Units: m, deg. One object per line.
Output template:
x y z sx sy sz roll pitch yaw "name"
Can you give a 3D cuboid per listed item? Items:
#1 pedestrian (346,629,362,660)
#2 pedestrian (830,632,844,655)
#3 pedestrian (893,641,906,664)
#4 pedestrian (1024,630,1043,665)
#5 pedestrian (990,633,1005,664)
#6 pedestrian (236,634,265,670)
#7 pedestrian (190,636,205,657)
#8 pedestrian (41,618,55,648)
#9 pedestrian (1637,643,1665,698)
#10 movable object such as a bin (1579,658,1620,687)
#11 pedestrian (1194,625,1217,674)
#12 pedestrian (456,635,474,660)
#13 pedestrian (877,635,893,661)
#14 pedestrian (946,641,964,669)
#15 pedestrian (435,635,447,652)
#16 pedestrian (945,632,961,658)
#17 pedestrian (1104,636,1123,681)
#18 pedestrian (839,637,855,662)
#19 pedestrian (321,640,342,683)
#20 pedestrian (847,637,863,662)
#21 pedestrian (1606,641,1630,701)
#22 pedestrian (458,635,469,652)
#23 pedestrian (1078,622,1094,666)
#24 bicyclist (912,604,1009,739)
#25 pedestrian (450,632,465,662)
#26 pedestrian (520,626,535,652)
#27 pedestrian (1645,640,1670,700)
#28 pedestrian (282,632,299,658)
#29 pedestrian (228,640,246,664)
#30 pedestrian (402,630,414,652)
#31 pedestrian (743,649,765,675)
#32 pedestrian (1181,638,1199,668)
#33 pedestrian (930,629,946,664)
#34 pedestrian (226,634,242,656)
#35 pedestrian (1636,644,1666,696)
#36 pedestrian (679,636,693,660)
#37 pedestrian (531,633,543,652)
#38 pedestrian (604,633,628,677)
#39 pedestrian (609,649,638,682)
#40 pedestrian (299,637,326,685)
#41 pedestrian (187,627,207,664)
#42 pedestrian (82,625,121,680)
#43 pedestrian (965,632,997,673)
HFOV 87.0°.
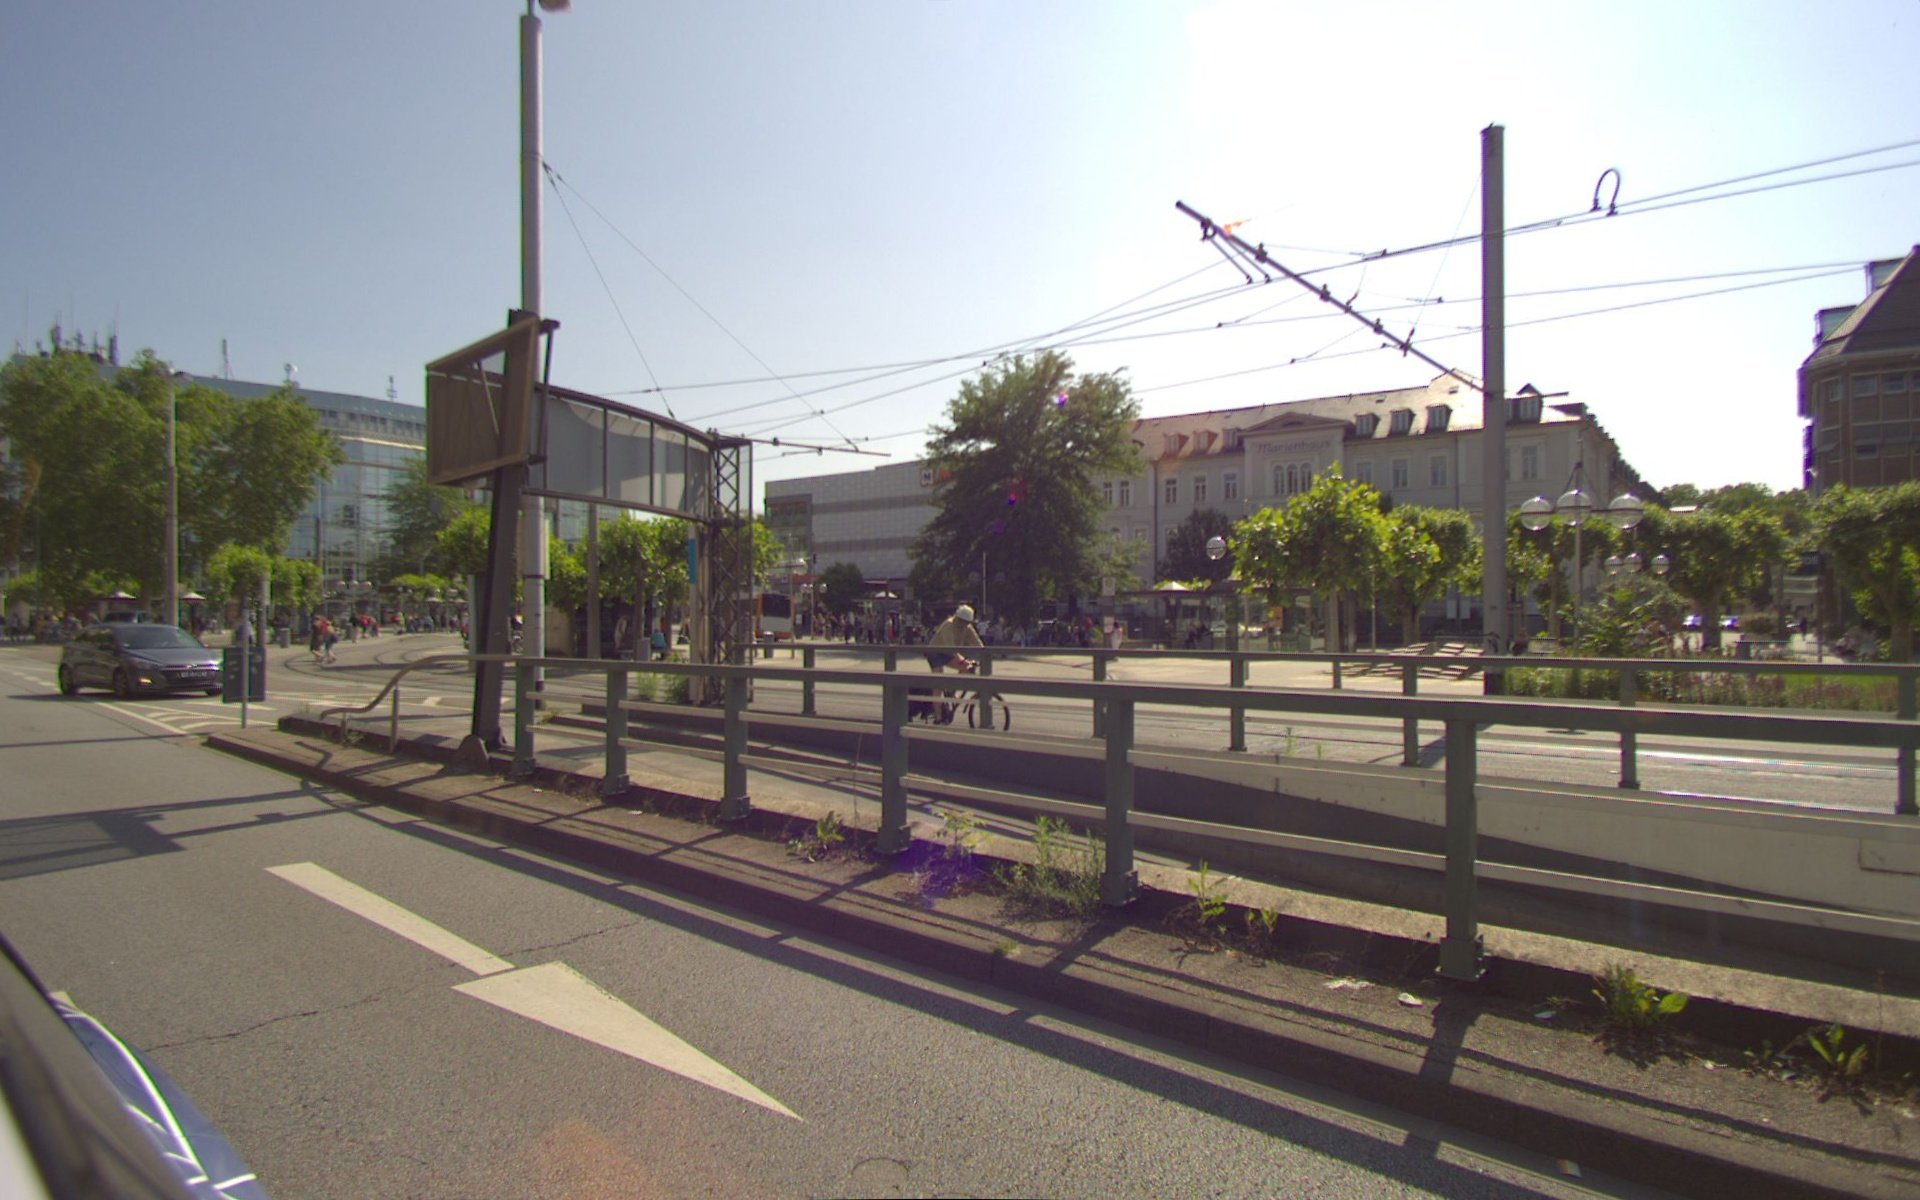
-36.756 2.703 61.383 0.605 1.830 0.570 -3 -6 40 "pedestrian"
-8.059 2.848 66.284 0.680 1.477 0.616 -3 -6 44 "pedestrian"
-3.411 2.959 57.131 0.511 1.273 0.453 5 -6 -44 "pedestrian"
3.747 2.413 51.628 0.618 1.742 0.733 -2 -5 40 "pedestrian"
1.596 2.055 42.989 0.479 1.273 0.400 -1 -5 22 "pedestrian"
-33.398 2.424 47.639 0.678 1.671 0.885 -2 -3 32 "pedestrian"
-65.690 3.995 87.223 0.780 1.760 0.744 -2 -3 31 "pedestrian"
-54.539 1.989 60.520 0.516 1.756 0.511 -1 -1 28 "pedestrian"
20.804 2.112 30.469 0.618 1.622 0.488 -2 -5 31 "pedestrian"
17.306 1.969 27.392 0.800 0.760 0.897 -3 -6 41 "movable object such as a bin"
10.183 2.047 41.950 0.621 2.023 0.736 5 -5 -44 "pedestrian"
-28.675 2.755 58.630 0.549 1.477 0.621 -1 -5 19 "pedestrian"
-4.300 2.754 58.113 0.616 1.477 0.681 5 -6 -44 "pedestrian"
-0.223 2.574 47.319 0.613 1.273 0.583 5 -6 -40 "pedestrian"
-46.083 3.865 89.835 0.555 1.484 0.747 -2 -1 40 "pedestrian"
-0.349 2.307 51.694 0.572 1.273 0.624 4 -5 -35 "pedestrian"
5.908 2.254 38.965 0.671 1.719 0.704 0 -4 8 "pedestrian"
-6.777 2.983 60.552 0.679 1.477 0.617 -2 -6 38 "pedestrian"
-23.764 2.323 38.253 0.518 1.622 0.627 5 -6 -40 "pedestrian"
-6.174 2.923 59.694 0.679 1.477 0.617 -2 -5 36 "pedestrian"
18.176 1.961 27.963 0.465 1.622 0.447 -3 -6 41 "pedestrian"
-44.133 3.834 89.969 0.555 1.484 0.747 -2 -1 40 "pedestrian"
5.855 2.065 47.022 0.627 2.023 0.542 0 -4 19 "pedestrian"
0.011 0.909 12.853 0.902 1.634 0.809 -3 -7 41 "bicyclist"
-29.219 2.740 58.878 0.518 1.678 0.469 -1 -5 19 "pedestrian"
-30.791 2.783 72.024 0.675 1.809 0.621 -1 -5 19 "pedestrian"
18.936 1.905 27.477 0.493 1.622 0.410 -2 -5 32 "pedestrian"
-39.644 2.666 59.938 0.716 1.477 0.682 3 -5 -28 "pedestrian"
-37.783 2.695 52.878 0.568 1.243 0.555 1 -3 -15 "pedestrian"
-40.781 3.044 74.778 0.448 1.561 0.474 0 -5 14 "pedestrian"
-8.228 2.489 40.438 0.580 1.008 0.627 -3 -6 43 "pedestrian"
10.560 2.431 46.483 0.598 1.369 0.562 -2 -5 40 "pedestrian"
-1.138 2.460 53.244 0.572 1.792 0.624 4 -5 -35 "pedestrian"
-58.125 3.624 81.044 0.780 1.761 0.744 -2 -5 31 "pedestrian"
20.138 2.042 29.494 0.659 1.504 0.520 -2 -5 33 "pedestrian"
-16.888 2.936 62.314 0.585 1.477 0.522 -1 -5 21 "pedestrian"
-35.552 3.606 85.050 0.573 1.561 0.677 0 -5 14 "pedestrian"
-12.979 2.080 38.209 0.597 1.622 0.574 0 -5 12 "pedestrian"
-12.205 2.380 36.698 0.751 1.180 0.669 -2 -5 35 "pedestrian"
-24.139 2.274 37.735 0.581 1.747 0.524 0 -4 11 "pedestrian"
-41.582 2.462 55.166 0.563 2.023 0.686 -1 -2 32 "pedestrian"
-32.080 1.945 37.837 0.670 2.023 0.895 0 -2 -3 "pedestrian"
0.958 2.428 46.300 0.953 1.807 1.082 5 -7 -40 "pedestrian"
